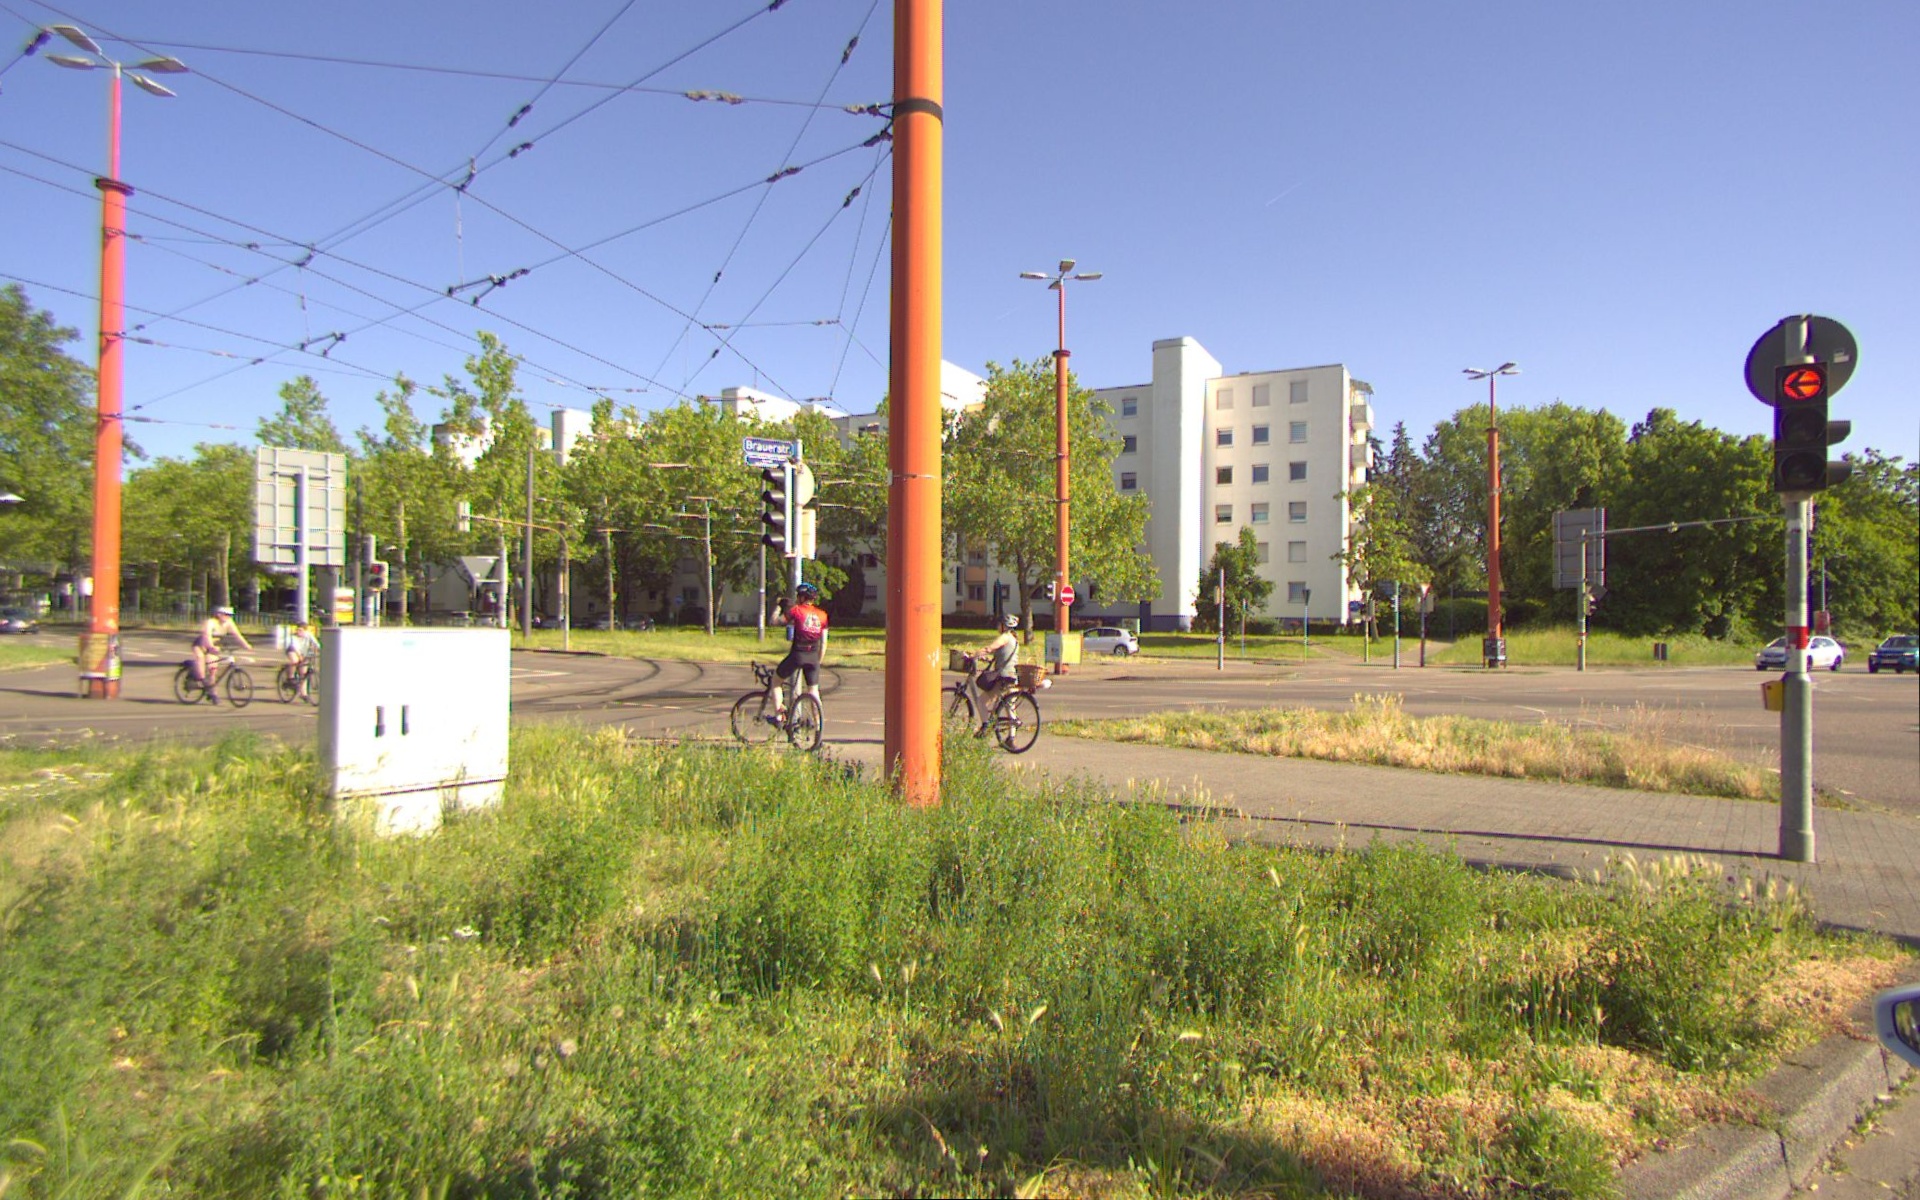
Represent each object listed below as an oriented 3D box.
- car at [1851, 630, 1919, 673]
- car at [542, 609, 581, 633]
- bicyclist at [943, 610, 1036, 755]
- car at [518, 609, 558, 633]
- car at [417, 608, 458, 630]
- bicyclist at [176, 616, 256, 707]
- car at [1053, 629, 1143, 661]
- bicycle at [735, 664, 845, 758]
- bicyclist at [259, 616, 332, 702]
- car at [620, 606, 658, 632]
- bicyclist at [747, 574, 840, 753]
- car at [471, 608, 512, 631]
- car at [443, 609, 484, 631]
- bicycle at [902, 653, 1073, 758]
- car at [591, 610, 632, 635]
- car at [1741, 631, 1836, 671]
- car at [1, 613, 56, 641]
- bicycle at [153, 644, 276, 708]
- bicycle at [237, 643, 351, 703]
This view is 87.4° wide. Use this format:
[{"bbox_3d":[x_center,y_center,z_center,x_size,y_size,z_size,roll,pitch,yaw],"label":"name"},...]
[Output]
[{"bbox_3d":[37.277,2.032,39.872,4.079,1.594,1.981,2,-1,-35],"label":"car"},{"bbox_3d":[-31.181,1.668,78.690,1.963,1.840,3.995,1,-1,-8],"label":"car"},{"bbox_3d":[0.366,0.953,12.106,0.728,1.659,0.931,0,-1,35],"label":"bicyclist"},{"bbox_3d":[-33.797,1.663,80.539,1.963,1.840,3.995,1,-1,-8],"label":"car"},{"bbox_3d":[-46.010,1.667,88.489,1.963,1.840,3.995,1,-1,-8],"label":"car"},{"bbox_3d":[-13.994,1.130,18.907,0.726,1.659,0.934,0,-1,18],"label":"bicyclist"},{"bbox_3d":[6.760,2.163,49.000,4.136,1.471,1.800,0,-1,15],"label":"car"},{"bbox_3d":[-2.108,1.304,12.245,0.915,0.976,1.747,1,-1,-24],"label":"bicycle"},{"bbox_3d":[-13.204,1.158,19.978,0.726,1.659,0.934,0,-1,18],"label":"bicyclist"},{"bbox_3d":[-23.392,1.392,73.428,1.963,1.840,3.995,1,-1,-8],"label":"car"},{"bbox_3d":[-1.999,0.742,12.015,0.921,2.040,0.736,1,-1,-25],"label":"bicyclist"},{"bbox_3d":[-39.272,1.633,84.338,1.963,1.840,3.995,1,-1,-8],"label":"car"},{"bbox_3d":[-42.661,1.691,86.460,1.963,1.840,3.995,1,-1,-8],"label":"car"},{"bbox_3d":[0.322,1.223,12.130,1.855,1.102,0.925,0,-1,34],"label":"bicycle"},{"bbox_3d":[-26.098,1.679,75.340,1.962,1.840,3.997,1,-1,-5],"label":"car"},{"bbox_3d":[35.153,2.144,42.612,4.075,1.594,1.983,1,-1,-32],"label":"car"},{"bbox_3d":[-56.372,1.611,60.797,3.848,1.615,1.935,0,-2,39],"label":"car"},{"bbox_3d":[-14.021,1.408,18.906,1.849,1.102,0.928,0,-1,18],"label":"bicycle"},{"bbox_3d":[-13.243,1.438,19.990,1.849,1.102,0.928,0,-1,18],"label":"bicycle"}]
